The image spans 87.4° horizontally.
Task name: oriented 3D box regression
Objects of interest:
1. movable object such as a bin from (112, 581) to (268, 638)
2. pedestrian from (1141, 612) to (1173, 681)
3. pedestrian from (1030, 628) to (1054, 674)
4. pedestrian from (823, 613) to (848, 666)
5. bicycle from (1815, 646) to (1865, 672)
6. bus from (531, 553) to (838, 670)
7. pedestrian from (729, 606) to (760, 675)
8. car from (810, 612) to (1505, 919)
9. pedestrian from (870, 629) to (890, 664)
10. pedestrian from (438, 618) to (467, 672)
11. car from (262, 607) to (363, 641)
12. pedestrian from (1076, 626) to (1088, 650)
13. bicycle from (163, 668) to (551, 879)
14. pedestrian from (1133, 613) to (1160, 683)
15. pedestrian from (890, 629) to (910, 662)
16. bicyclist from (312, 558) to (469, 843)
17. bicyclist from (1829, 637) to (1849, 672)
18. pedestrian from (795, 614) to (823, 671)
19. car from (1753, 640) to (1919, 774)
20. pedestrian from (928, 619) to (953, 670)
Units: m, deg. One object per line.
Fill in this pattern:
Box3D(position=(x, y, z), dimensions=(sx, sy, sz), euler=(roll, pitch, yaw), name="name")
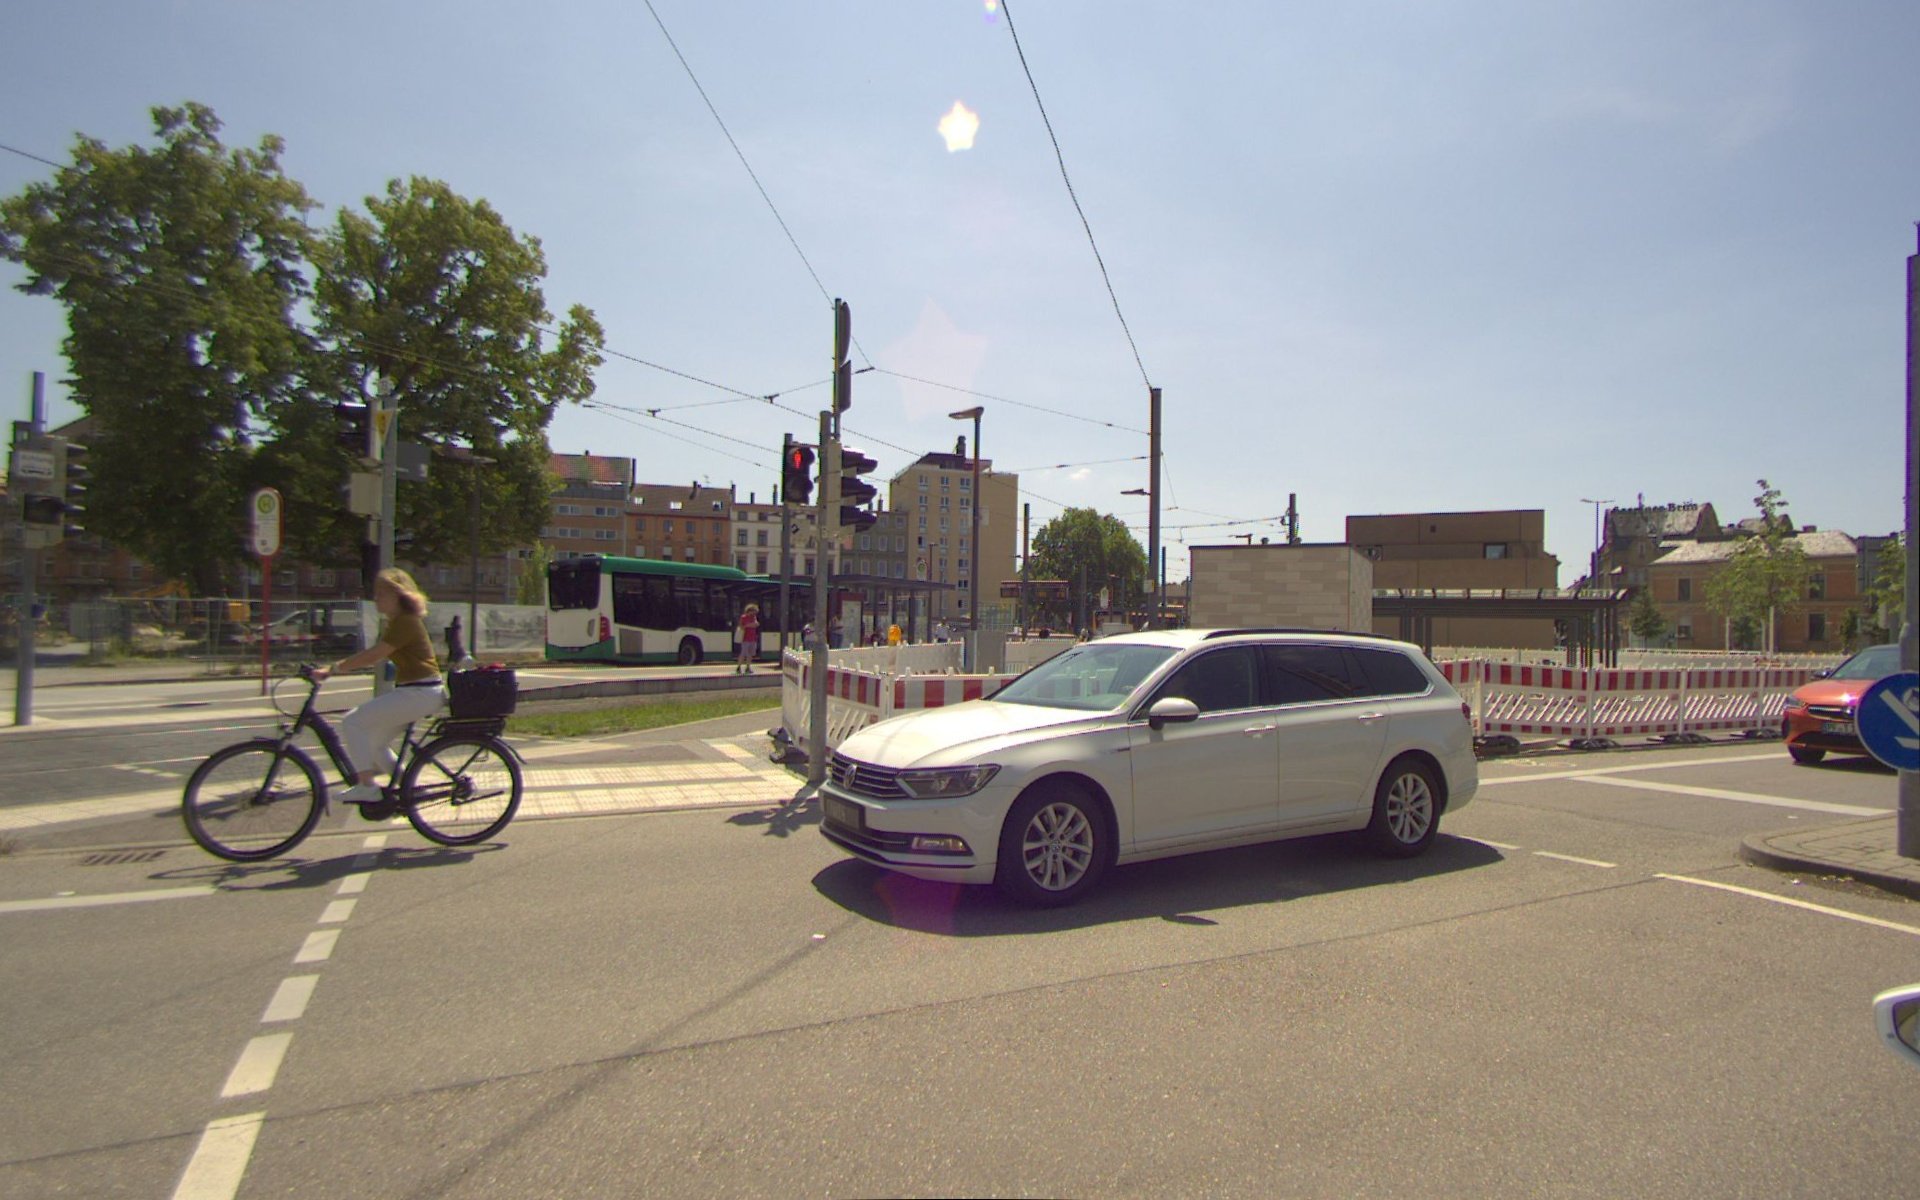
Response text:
Box3D(position=(-50.091, 0.644, 65.613), dimensions=(7.904, 3.434, 2.877), euler=(2, 0, -38), name="movable object such as a bin")
Box3D(position=(5.305, 1.239, 27.073), dimensions=(0.633, 1.812, 0.637), euler=(2, 0, 28), name="pedestrian")
Box3D(position=(3.716, 2.291, 45.394), dimensions=(0.684, 2.040, 0.877), euler=(2, 0, 32), name="pedestrian")
Box3D(position=(-3.918, 1.234, 31.572), dimensions=(0.527, 1.642, 0.520), euler=(2, 0, 24), name="pedestrian")
Box3D(position=(41.876, 2.798, 47.840), dimensions=(0.515, 1.196, 1.896), euler=(2, -3, -9), name="bicycle")
Box3D(position=(-8.219, 0.362, 32.130), dimensions=(2.804, 3.094, 10.585), euler=(2, 0, 29), name="bus")
Box3D(position=(-5.529, 1.020, 25.795), dimensions=(0.569, 1.724, 0.566), euler=(2, 0, 9), name="pedestrian")
Box3D(position=(1.388, 0.881, 6.622), dimensions=(4.373, 1.447, 1.808), euler=(2, -3, -29), name="car")
Box3D(position=(-2.692, 1.560, 33.807), dimensions=(0.505, 1.137, 0.429), euler=(2, 0, 24), name="pedestrian")
Box3D(position=(-15.009, 1.321, 29.732), dimensions=(0.540, 1.562, 0.481), euler=(2, 0, 9), name="pedestrian")
Box3D(position=(-33.953, 1.270, 52.709), dimensions=(4.213, 1.623, 1.761), euler=(2, 0, -42), name="car")
Box3D(position=(7.089, 2.207, 58.175), dimensions=(0.500, 1.384, 0.524), euler=(2, 0, 26), name="pedestrian")
Box3D(position=(-3.706, 1.016, 6.360), dimensions=(1.986, 1.165, 0.585), euler=(2, -4, -30), name="bicycle")
Box3D(position=(4.881, 1.243, 26.260), dimensions=(0.530, 1.779, 0.659), euler=(2, 0, 18), name="pedestrian")
Box3D(position=(-2.069, 1.572, 34.852), dimensions=(0.505, 1.137, 0.429), euler=(2, 0, 24), name="pedestrian")
Box3D(position=(-3.622, 0.618, 6.420), dimensions=(0.789, 1.687, 0.583), euler=(2, -3, -30), name="bicyclist")
Box3D(position=(41.872, 2.594, 47.871), dimensions=(0.521, 1.600, 0.497), euler=(2, -2, -10), name="bicyclist")
Box3D(position=(-4.565, 1.275, 30.381), dimensions=(0.615, 1.677, 0.546), euler=(2, 0, 24), name="pedestrian")
Box3D(position=(11.543, 1.224, 12.046), dimensions=(3.962, 1.396, 1.682), euler=(2, -4, -27), name="car")
Box3D(position=(-0.739, 1.683, 38.208), dimensions=(0.686, 1.882, 0.606), euler=(2, 0, 24), name="pedestrian")
